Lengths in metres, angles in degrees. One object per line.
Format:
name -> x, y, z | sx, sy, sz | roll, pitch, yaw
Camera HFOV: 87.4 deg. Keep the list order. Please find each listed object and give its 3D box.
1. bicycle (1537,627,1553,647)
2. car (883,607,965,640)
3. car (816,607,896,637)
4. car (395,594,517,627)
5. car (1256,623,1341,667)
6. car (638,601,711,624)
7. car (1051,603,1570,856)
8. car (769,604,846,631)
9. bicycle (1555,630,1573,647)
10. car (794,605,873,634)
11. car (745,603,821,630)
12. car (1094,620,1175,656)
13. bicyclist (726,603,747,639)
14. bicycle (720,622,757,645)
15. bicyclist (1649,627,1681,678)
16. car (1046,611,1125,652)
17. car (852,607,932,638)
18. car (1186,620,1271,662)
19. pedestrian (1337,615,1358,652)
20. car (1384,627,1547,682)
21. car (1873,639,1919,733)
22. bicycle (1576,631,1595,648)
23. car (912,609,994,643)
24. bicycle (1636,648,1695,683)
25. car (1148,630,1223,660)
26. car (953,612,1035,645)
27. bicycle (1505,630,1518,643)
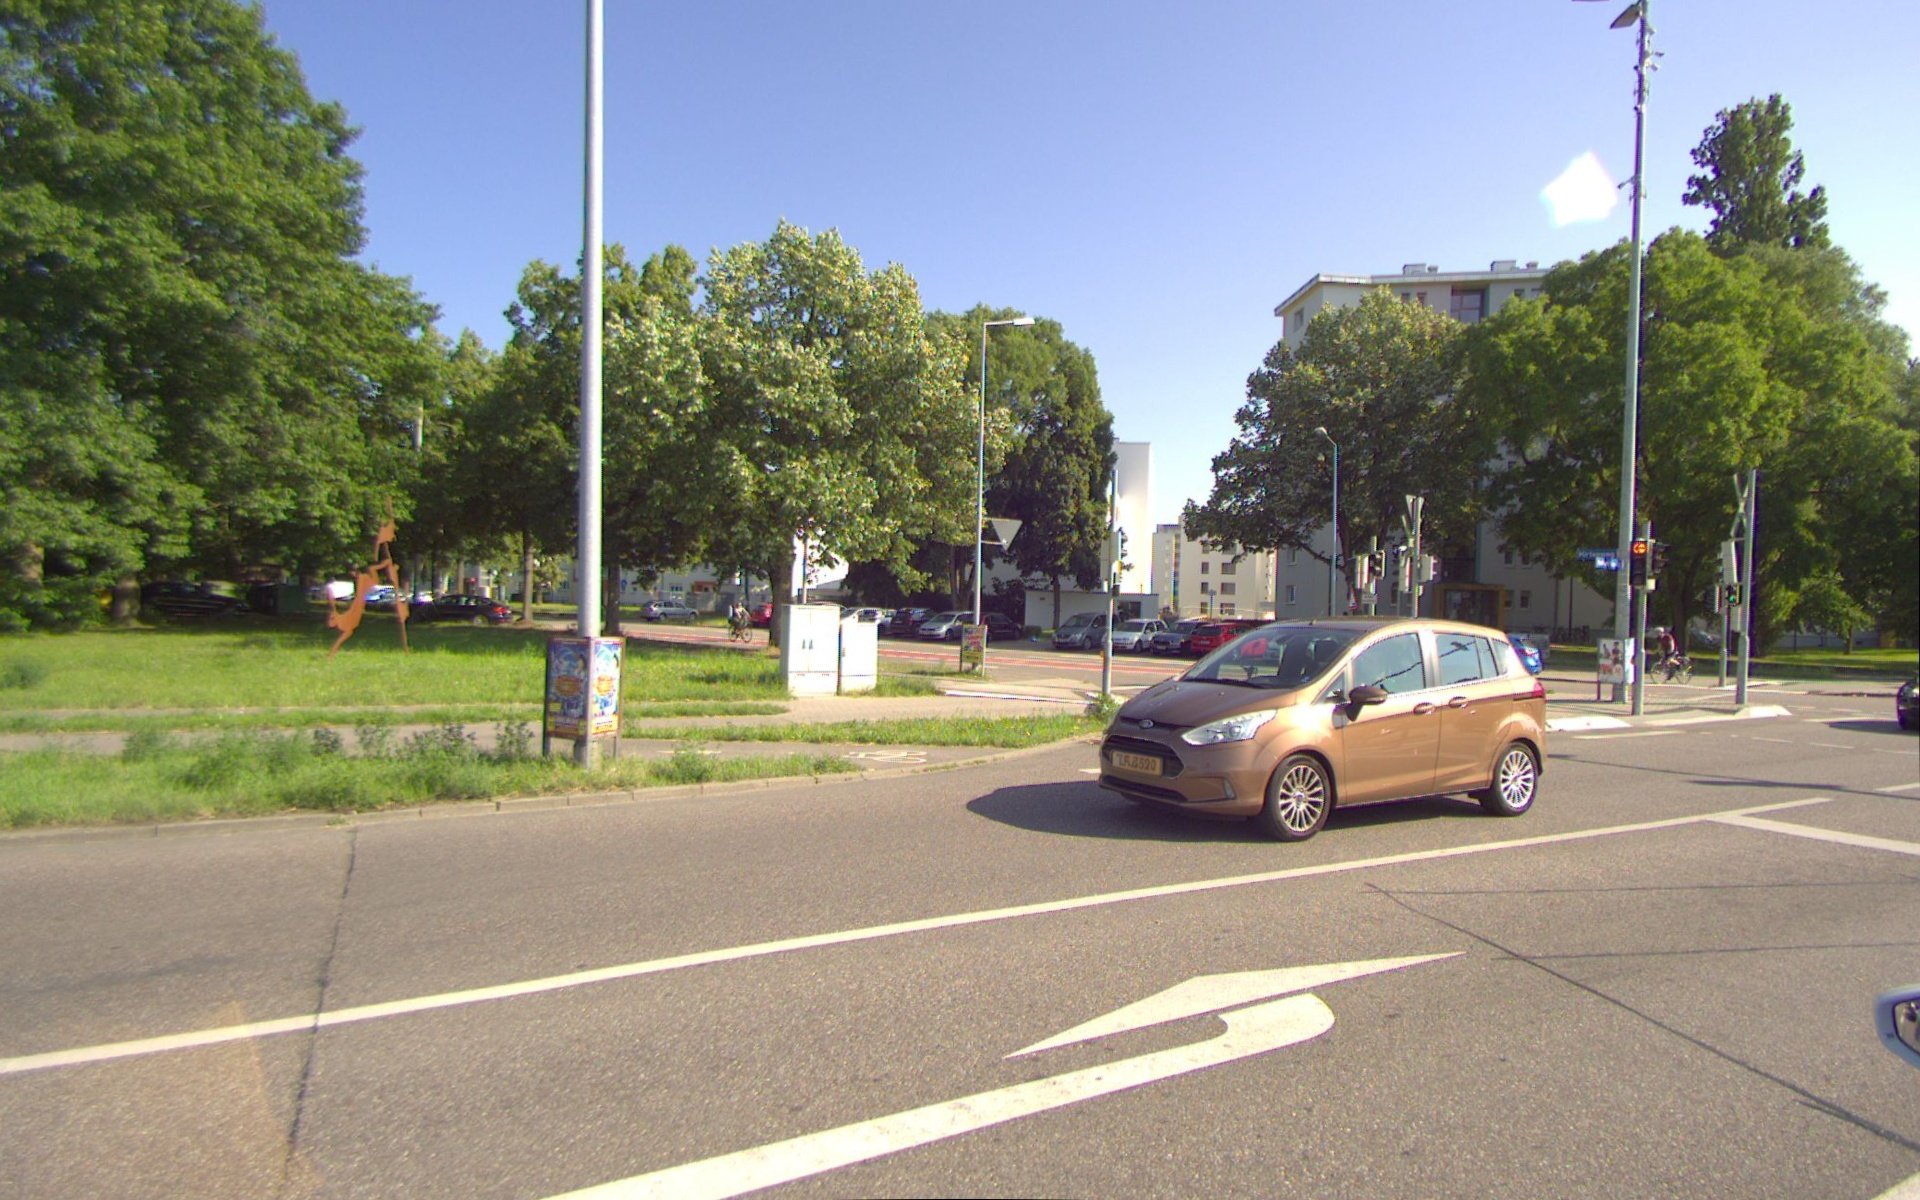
bicycle -> 34.259, 2.172, 58.860 | 0.601, 1.080, 1.916 | 3, -1, 25
car -> -1.934, 1.268, 55.416 | 1.758, 1.497, 4.790 | 2, 3, 40
car -> -5.989, 1.245, 58.299 | 1.758, 1.497, 4.790 | 2, 2, 40
car -> -22.936, 0.490, 45.798 | 4.682, 1.338, 1.524 | 2, 0, -7
car -> 13.716, 1.782, 40.600 | 1.760, 1.459, 3.975 | 2, 3, 43
car -> -20.482, 0.902, 72.147 | 1.761, 1.497, 4.784 | 2, 0, 44
car -> 2.856, 0.892, 8.038 | 3.951, 1.582, 1.738 | 2, -2, -29
car -> -9.474, 1.050, 62.531 | 1.758, 1.497, 4.790 | 2, 2, 40
bicycle -> 35.222, 2.229, 58.584 | 0.663, 0.887, 2.482 | 2, 0, 26
car -> -7.530, 1.156, 60.247 | 1.758, 1.497, 4.790 | 2, 2, 40
car -> -11.214, 1.003, 64.026 | 1.758, 1.497, 4.790 | 2, 2, 40
car -> 8.007, 1.724, 45.938 | 1.760, 1.541, 3.978 | 2, 0, 42
bicyclist -> -9.719, 0.901, 43.741 | 0.617, 1.544, 0.616 | 2, 1, 38
bicycle -> -9.618, 1.435, 43.661 | 1.783, 0.915, 0.651 | 2, 0, 42
bicyclist -> 22.391, 1.648, 31.902 | 0.595, 1.581, 0.605 | 2, 0, -26
car -> 6.016, 1.505, 47.806 | 1.760, 1.835, 3.978 | 2, 0, 42
car -> -3.811, 1.247, 57.021 | 1.758, 1.497, 4.754 | 2, 2, 40
car -> 11.443, 1.690, 42.671 | 1.761, 1.435, 3.973 | 2, 3, 45
pedestrian -> 18.522, 1.575, 48.004 | 0.693, 1.736, 0.623 | 2, 0, -17
car -> 15.521, 1.619, 30.937 | 4.180, 1.433, 1.777 | 1, 0, 40
car -> 17.269, 1.442, 16.808 | 4.053, 1.493, 1.879 | 2, -1, -31
bicycle -> 36.164, 2.257, 58.095 | 0.658, 0.932, 2.404 | 2, 0, 26
car -> -0.309, 1.350, 53.313 | 1.758, 1.497, 4.691 | 2, 3, 40
bicycle -> 22.452, 2.076, 31.940 | 2.044, 1.054, 0.617 | 2, 0, -26
car -> 9.909, 1.954, 44.021 | 1.445, 1.209, 3.764 | 2, 0, 44
car -> 1.836, 1.447, 52.626 | 1.758, 1.497, 4.790 | 2, 2, 40
bicycle -> 32.881, 2.157, 59.920 | 0.574, 0.718, 2.236 | 2, 0, 26
